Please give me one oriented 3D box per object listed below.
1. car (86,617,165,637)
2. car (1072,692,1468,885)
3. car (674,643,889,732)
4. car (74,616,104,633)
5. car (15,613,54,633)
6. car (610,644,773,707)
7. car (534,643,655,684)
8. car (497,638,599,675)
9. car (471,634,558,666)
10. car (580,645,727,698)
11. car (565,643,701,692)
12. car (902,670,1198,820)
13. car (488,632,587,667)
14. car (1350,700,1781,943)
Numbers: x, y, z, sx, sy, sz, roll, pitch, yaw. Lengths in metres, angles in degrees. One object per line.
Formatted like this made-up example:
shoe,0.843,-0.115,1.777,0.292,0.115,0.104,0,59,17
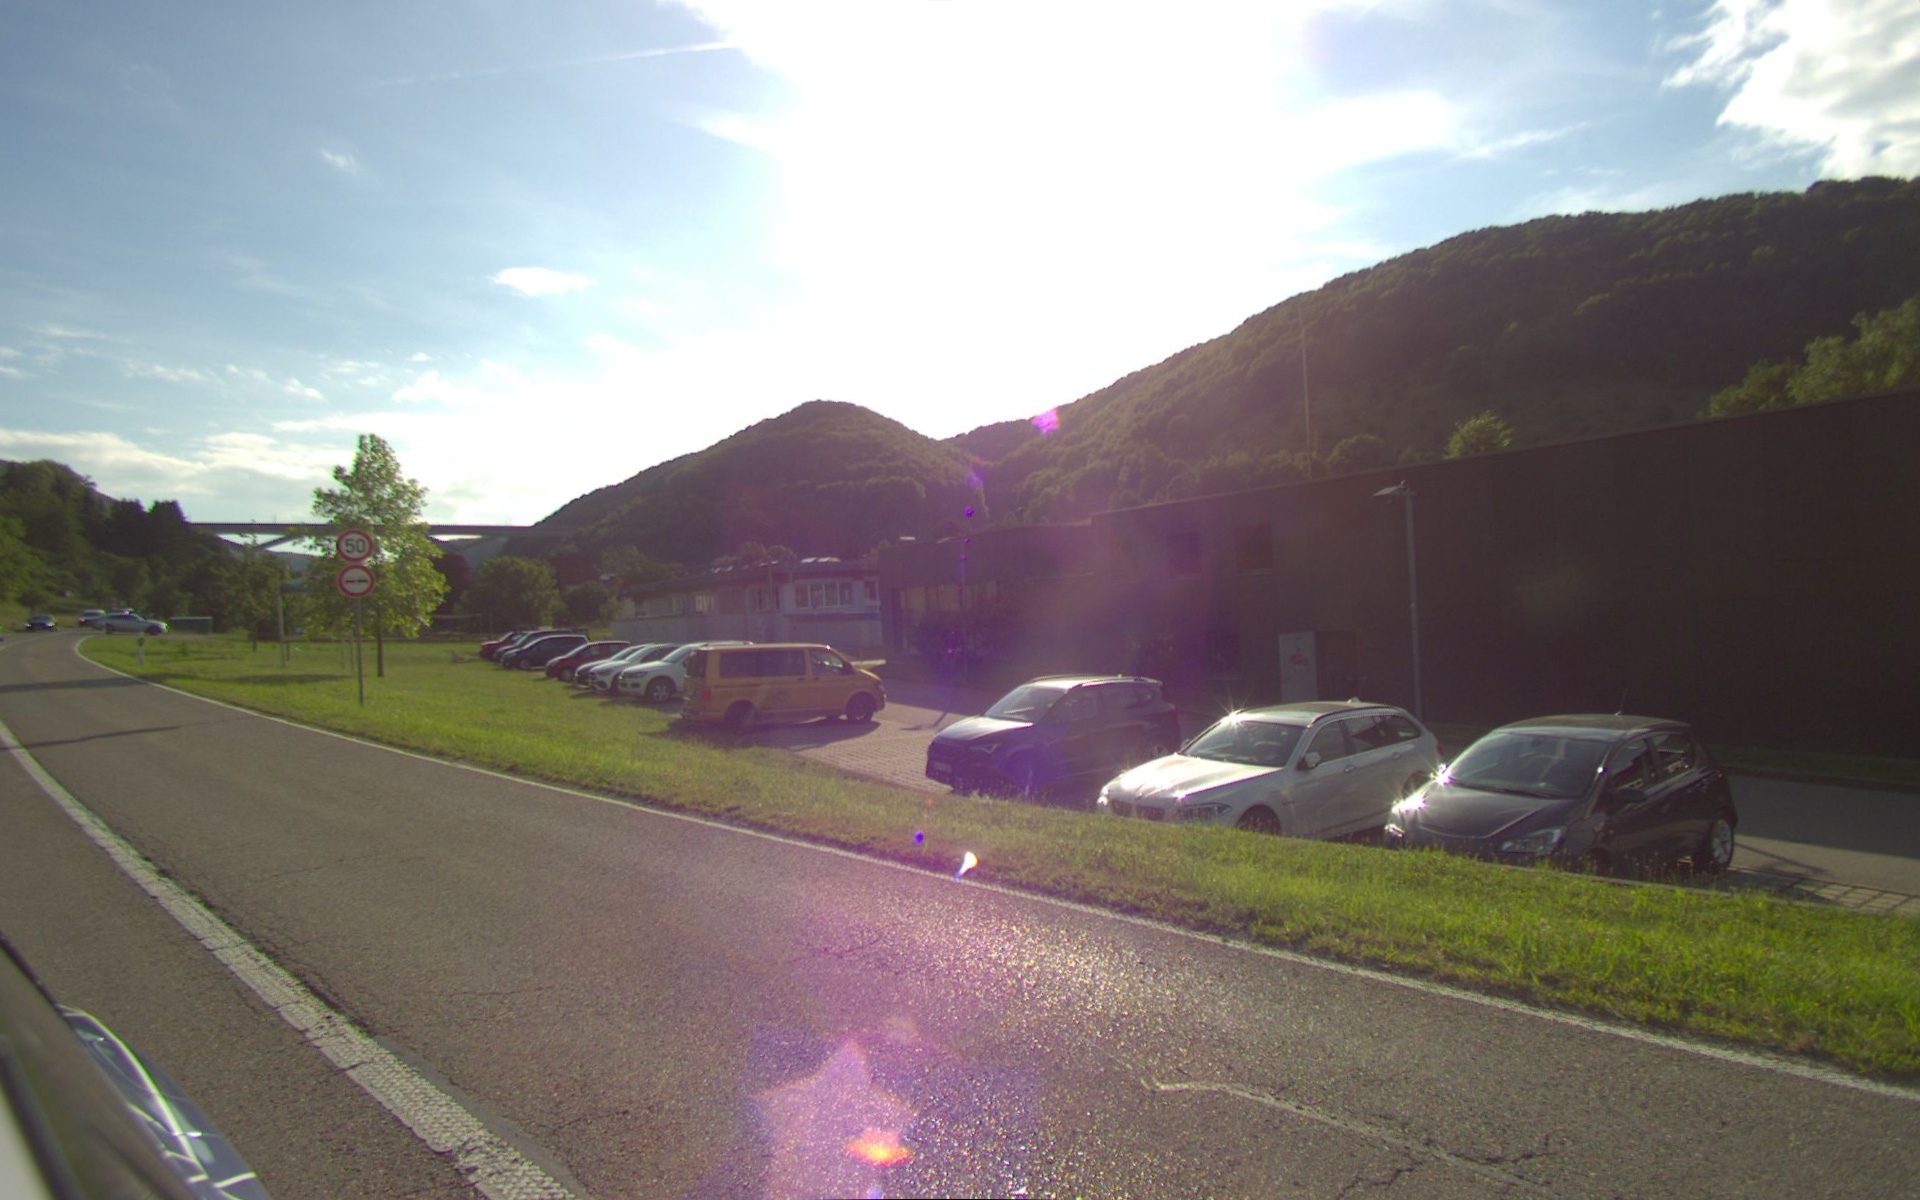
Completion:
car,-66.340,2.153,80.557,4.694,1.539,2.005,0,-2,-34
car,3.658,1.962,11.617,4.577,1.508,1.918,1,-2,-35
car,-4.172,1.967,23.859,4.583,1.827,2.006,0,-2,-30
car,-92.016,2.621,106.932,1.769,1.749,4.295,-1,-1,-32
car,-78.652,1.968,86.022,1.882,1.698,4.010,0,-2,-34
car,-8.252,2.255,31.193,4.477,1.714,2.006,0,-2,-30
car,-14.841,2.543,41.138,4.371,1.463,2.006,0,-2,-30
car,-20.247,2.724,49.728,4.371,1.595,2.006,-1,-1,-32
car,-25.653,2.861,58.300,4.371,1.733,2.006,0,-2,-32
car,-10.292,2.358,34.051,4.371,1.599,2.006,0,-2,-30
car,-11.937,2.414,37.008,4.371,1.595,2.006,0,-2,-32
car,1.432,2.059,15.411,4.226,1.650,1.917,-2,-1,-36
car,-22.520,2.612,53.985,4.596,1.776,2.006,0,-2,-32
car,5.738,1.863,9.516,3.932,1.546,1.839,0,-2,-31
